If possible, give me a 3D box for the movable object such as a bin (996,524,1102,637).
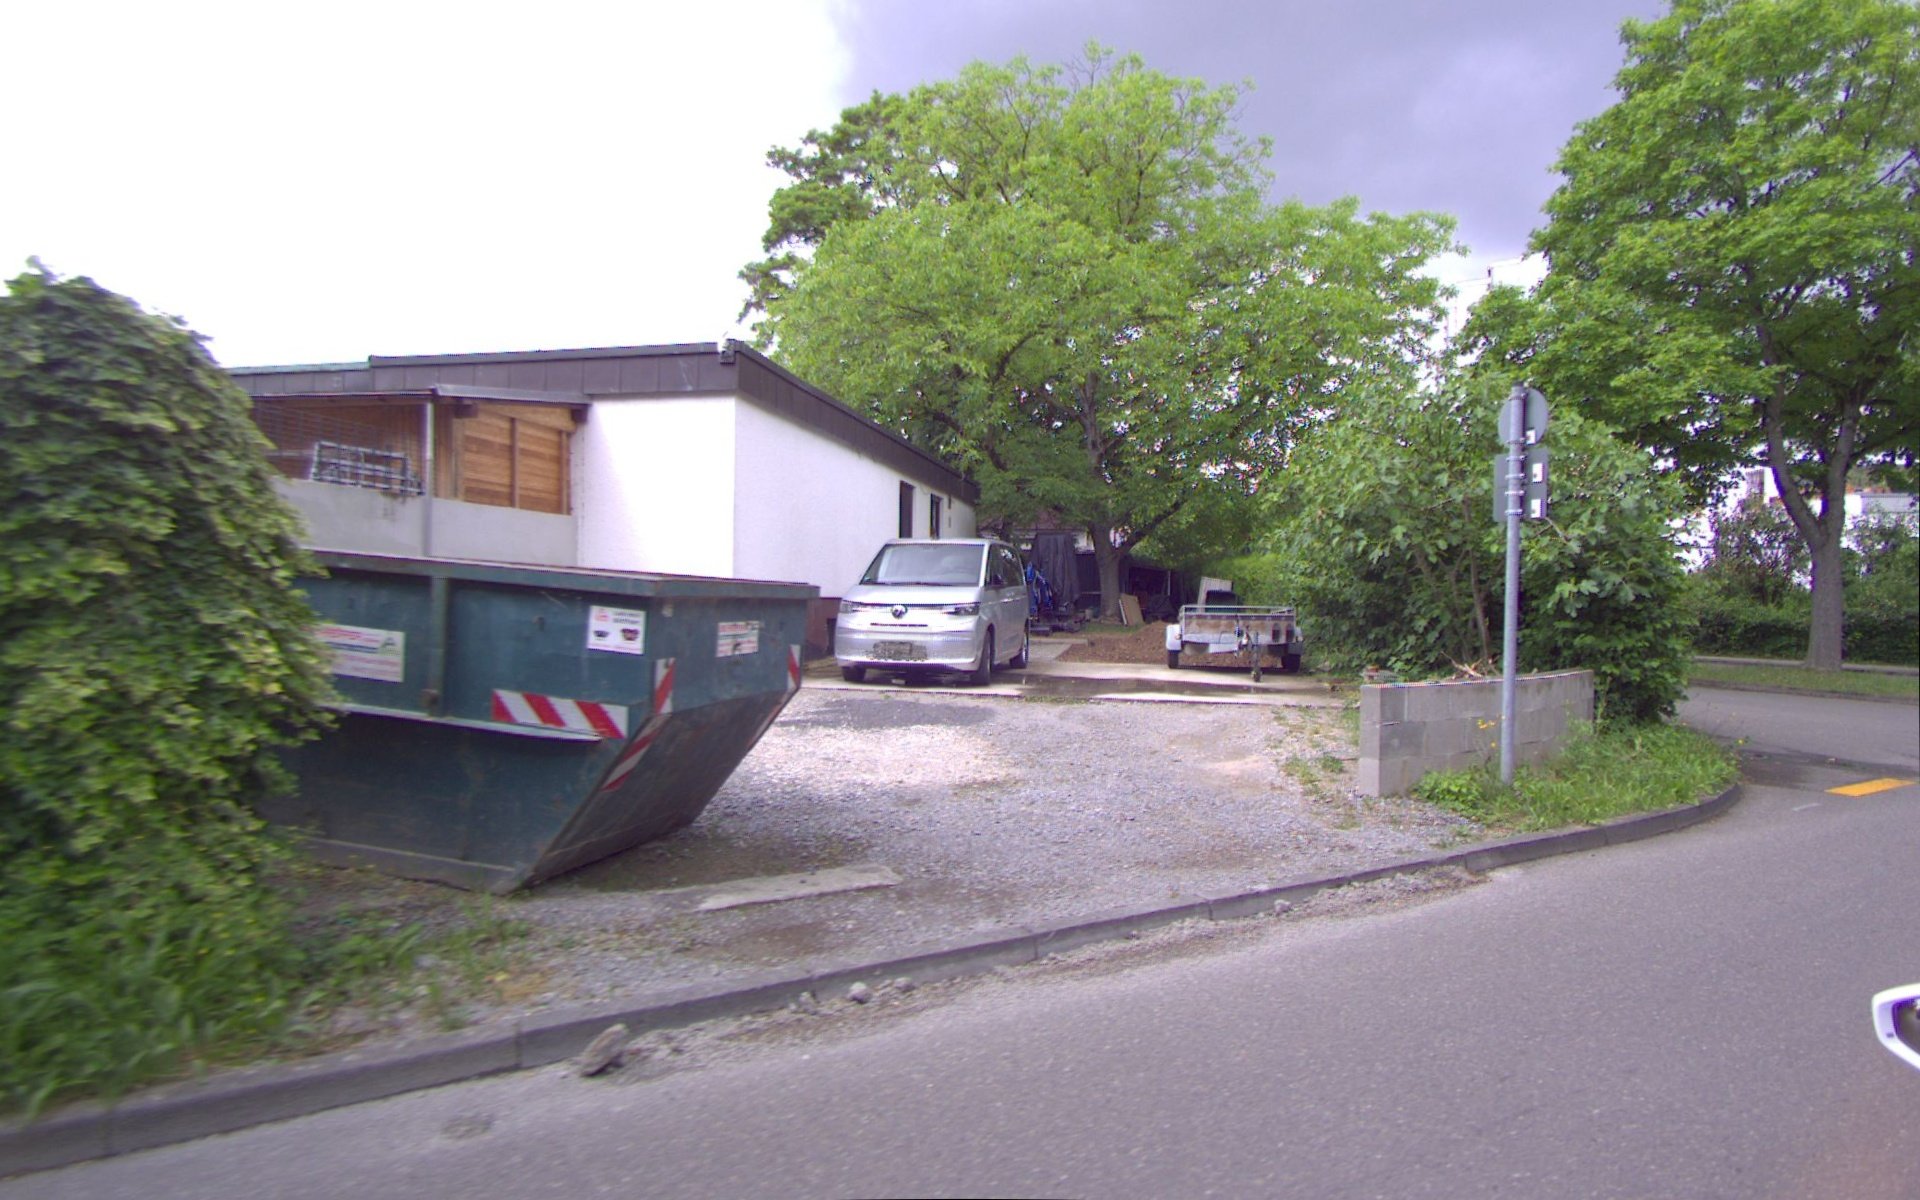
[{"bbox_3d":[2.031,-0.456,22.267,1.959,2.312,2.784,1,2,12],"label":"movable object such as a bin"}]

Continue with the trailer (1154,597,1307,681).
[{"bbox_3d":[4.055,0.510,15.442,1.959,1.061,4.002,1,1,13],"label":"trailer"}]

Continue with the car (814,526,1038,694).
[{"bbox_3d":[-0.213,0.047,13.637,1.989,1.829,4.931,1,2,10],"label":"car"}]
